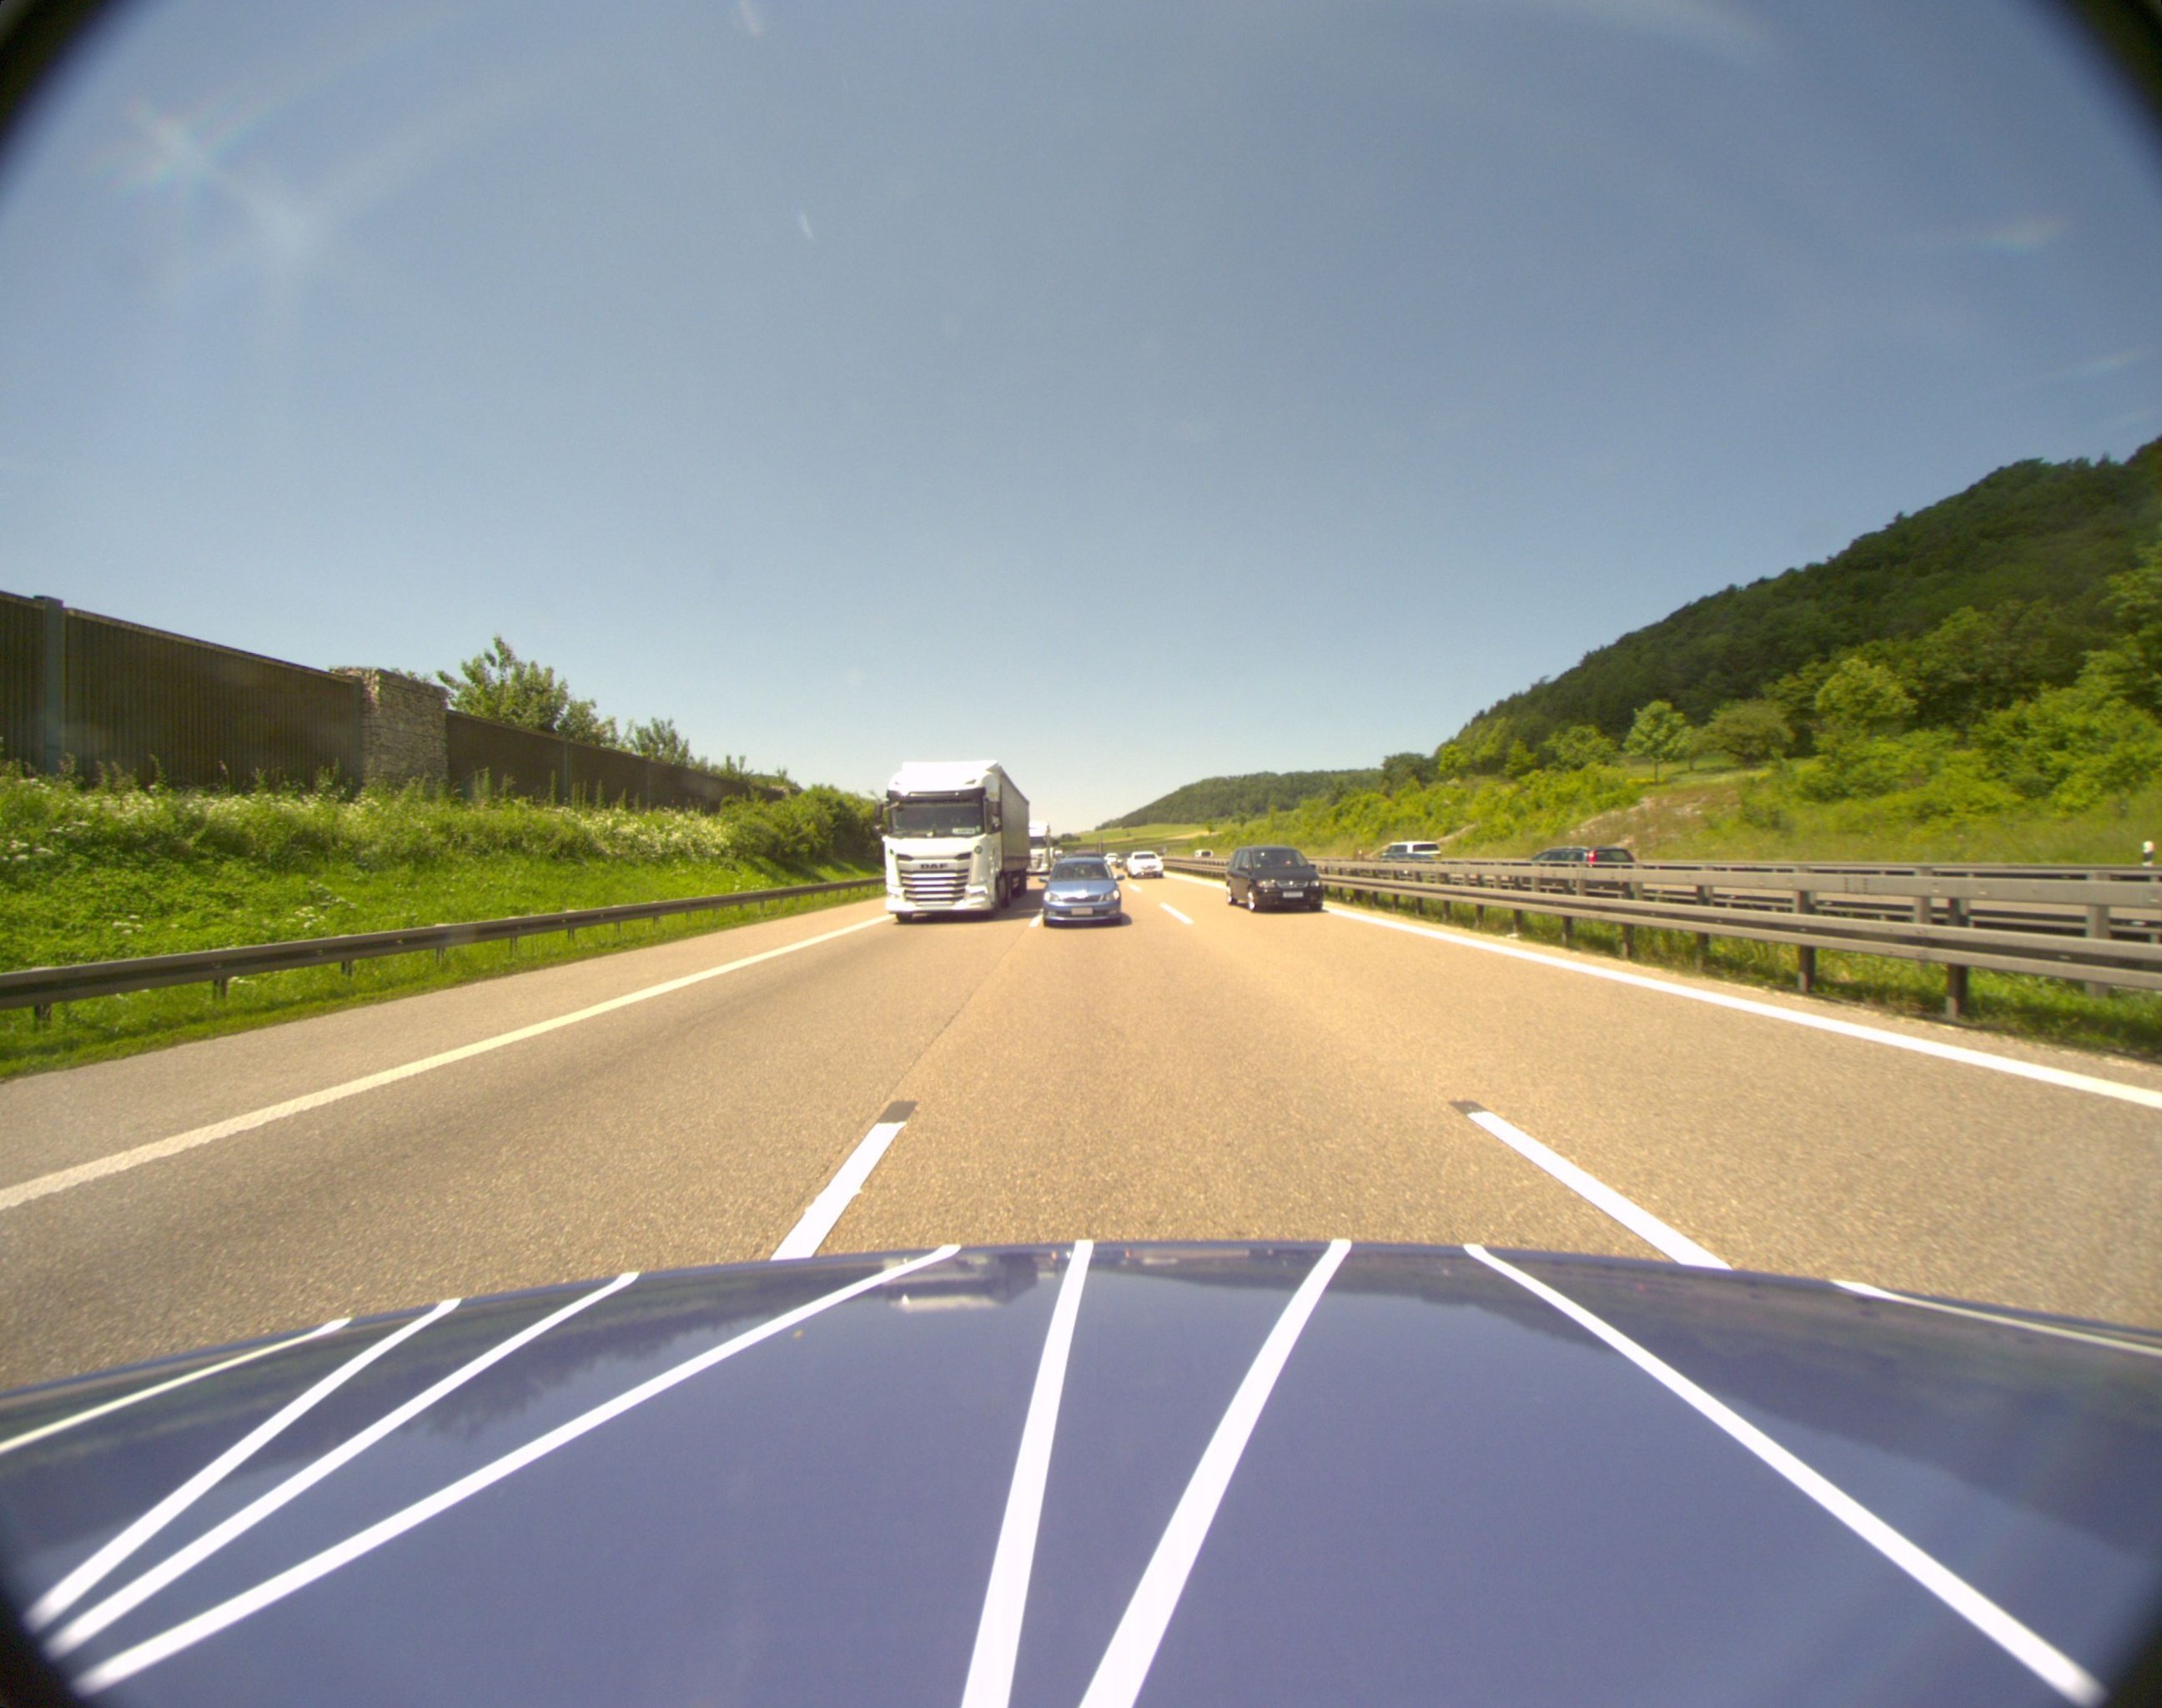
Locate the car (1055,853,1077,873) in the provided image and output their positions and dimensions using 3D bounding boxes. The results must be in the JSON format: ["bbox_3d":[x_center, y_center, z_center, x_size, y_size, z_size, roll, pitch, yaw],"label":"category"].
[{"bbox_3d":[-1.456,0.856,72.681,1.999,1.702,3.999,-2,1,-1],"label":"car"}]

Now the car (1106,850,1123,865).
[{"bbox_3d":[4.115,0.367,94.273,1.998,1.702,4.000,-2,1,3],"label":"car"}]

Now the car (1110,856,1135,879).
[{"bbox_3d":[3.434,1.109,63.011,1.998,1.692,4.000,-2,1,3],"label":"car"}]

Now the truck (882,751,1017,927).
[{"bbox_3d":[-3.251,-0.359,20.445,2.484,3.954,6.380,-1,1,-1],"label":"truck"}]

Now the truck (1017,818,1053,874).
[{"bbox_3d":[-3.521,-0.607,59.511,2.532,4.065,6.077,-2,1,-2],"label":"truck"}]

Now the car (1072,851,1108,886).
[{"bbox_3d":[0.499,0.717,39.871,1.736,1.674,4.197,-1,0,1],"label":"car"}]

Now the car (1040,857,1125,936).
[{"bbox_3d":[0.007,0.847,17.403,1.660,1.481,4.652,-1,0,-1],"label":"car"}]

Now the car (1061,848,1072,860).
[{"bbox_3d":[-2.708,0.006,143.527,1.999,2.002,3.999,-2,1,-1],"label":"car"}]

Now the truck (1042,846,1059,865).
[{"bbox_3d":[-4.069,0.156,101.648,1.835,2.267,6.594,-2,1,1],"label":"truck"}]

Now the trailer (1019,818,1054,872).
[{"bbox_3d":[-3.715,-0.758,65.838,2.544,4.085,13.623,-2,1,-2],"label":"trailer"}]

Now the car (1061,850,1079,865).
[{"bbox_3d":[-1.305,0.396,90.207,1.999,1.702,3.999,-2,1,-1],"label":"car"}]

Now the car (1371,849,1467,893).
[{"bbox_3d":[12.506,0.579,28.413,1.737,1.467,4.229,-1,0,1],"label":"car"}]

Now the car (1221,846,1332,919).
[{"bbox_3d":[4.886,0.640,19.615,1.805,1.625,4.446,-1,0,2],"label":"car"}]

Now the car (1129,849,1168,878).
[{"bbox_3d":[4.012,0.554,45.741,1.998,1.612,4.000,-2,1,1],"label":"car"}]

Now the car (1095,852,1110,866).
[{"bbox_3d":[2.949,0.641,103.544,1.998,1.702,4.000,-2,1,3],"label":"car"}]

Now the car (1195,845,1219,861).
[{"bbox_3d":[15.169,-0.156,91.939,1.998,1.828,5.226,-1,0,0],"label":"car"}]

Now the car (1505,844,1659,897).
[{"bbox_3d":[15.920,0.470,24.482,1.998,1.510,4.521,-1,0,0],"label":"car"}]

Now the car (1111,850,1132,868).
[{"bbox_3d":[4.088,0.465,77.566,1.998,1.702,4.000,-2,1,3],"label":"car"}]

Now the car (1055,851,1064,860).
[{"bbox_3d":[-4.855,0.363,170.613,1.999,2.002,3.999,-2,1,-1],"label":"car"}]

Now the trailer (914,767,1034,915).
[{"bbox_3d":[-3.342,-0.391,27.525,2.484,3.954,13.652,-1,0,-1],"label":"trailer"}]

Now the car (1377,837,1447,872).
[{"bbox_3d":[19.485,0.023,44.964,2.065,1.930,4.660,-1,0,0],"label":"car"}]
